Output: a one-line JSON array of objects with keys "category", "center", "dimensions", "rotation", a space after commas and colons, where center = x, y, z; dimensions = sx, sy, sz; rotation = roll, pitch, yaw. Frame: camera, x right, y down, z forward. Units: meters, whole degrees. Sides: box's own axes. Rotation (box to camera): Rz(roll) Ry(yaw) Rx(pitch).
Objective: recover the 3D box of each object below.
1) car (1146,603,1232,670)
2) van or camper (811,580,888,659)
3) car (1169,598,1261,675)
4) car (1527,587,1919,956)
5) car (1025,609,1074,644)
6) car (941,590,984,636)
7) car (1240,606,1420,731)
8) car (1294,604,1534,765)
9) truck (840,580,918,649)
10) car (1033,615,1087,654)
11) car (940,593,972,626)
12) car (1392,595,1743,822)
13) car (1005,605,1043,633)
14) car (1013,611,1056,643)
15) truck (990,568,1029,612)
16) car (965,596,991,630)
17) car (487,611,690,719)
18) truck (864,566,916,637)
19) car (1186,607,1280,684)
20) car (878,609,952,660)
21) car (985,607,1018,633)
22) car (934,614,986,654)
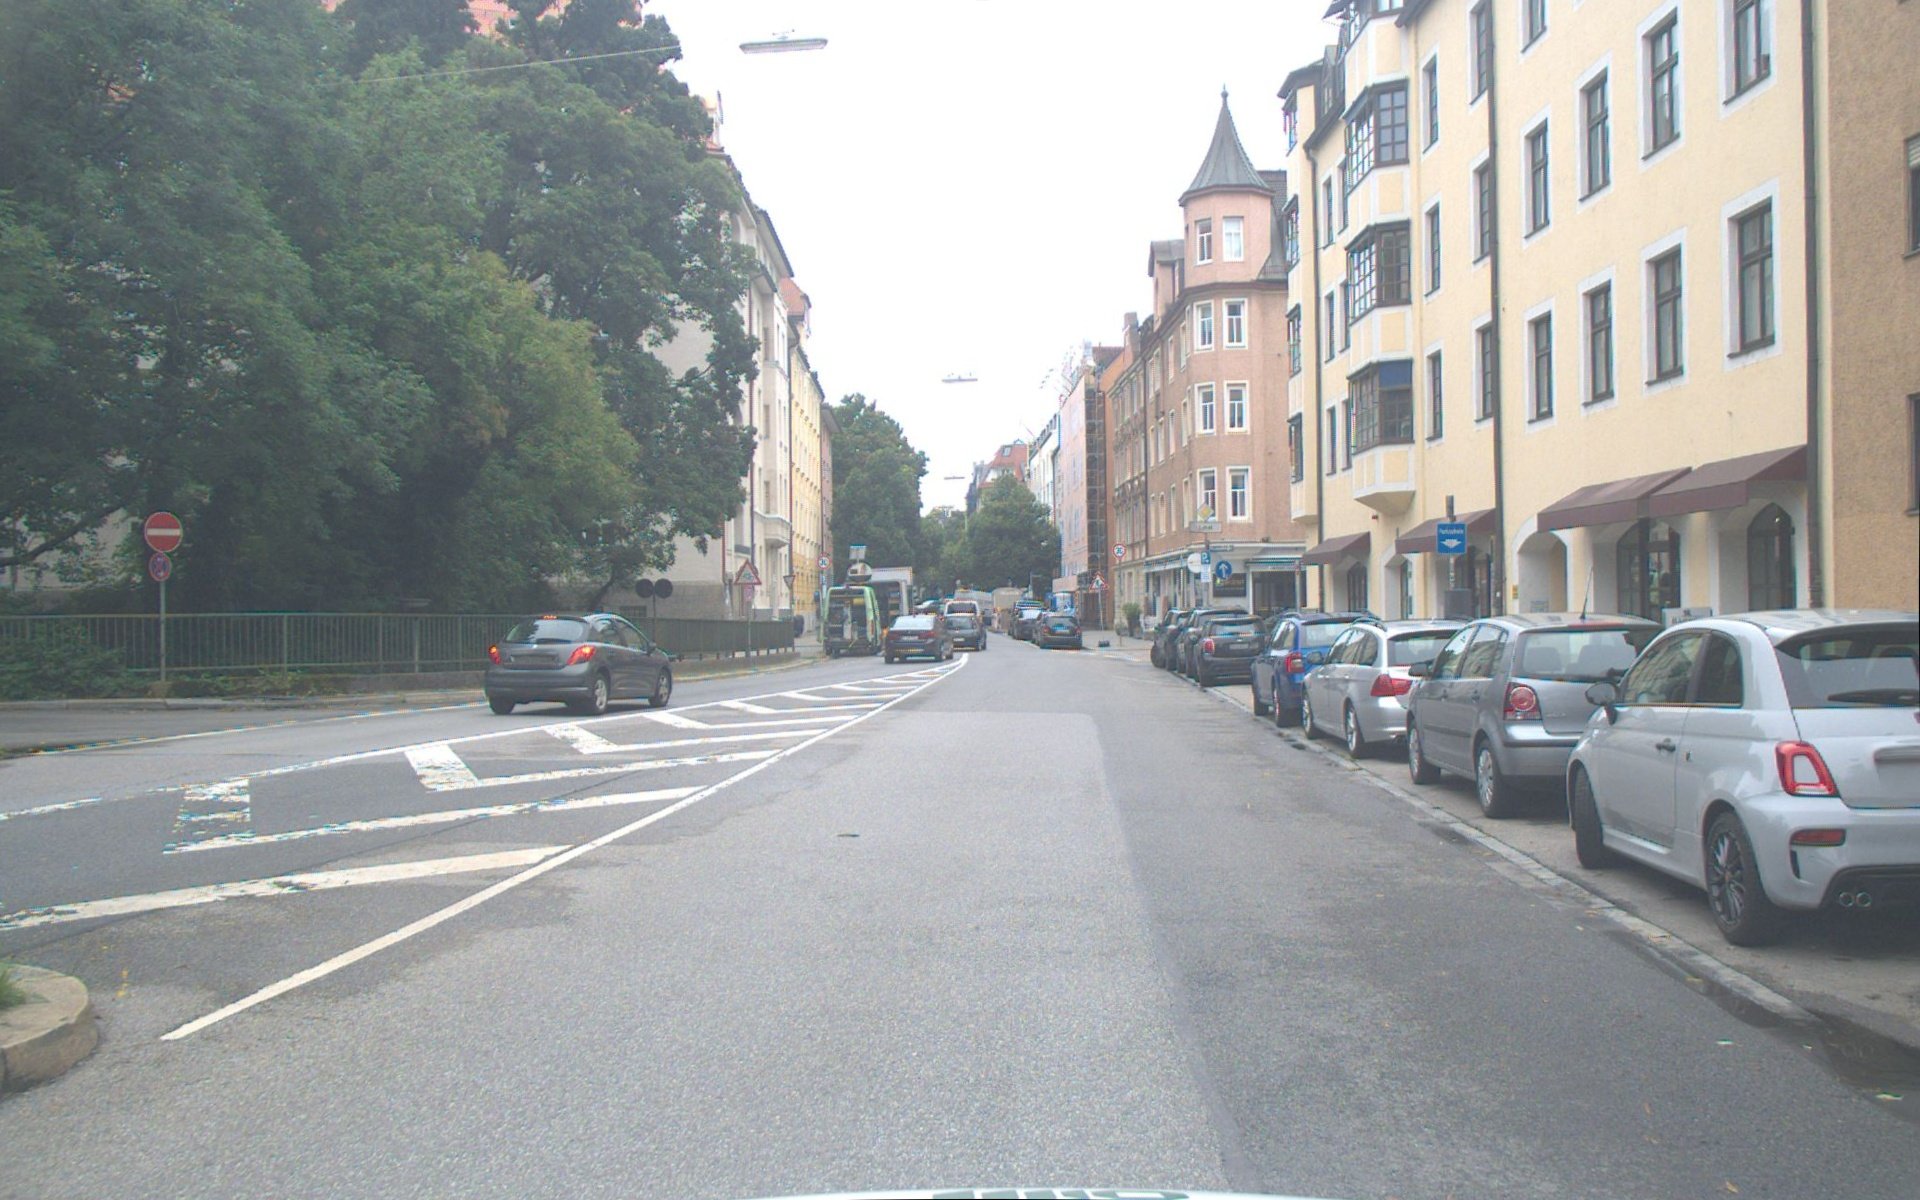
[{"category": "car", "center": [6.348, 0.987, 46.197], "dimensions": [1.781, 1.709, 4.510], "rotation": [-2, -1, 1]}, {"category": "van or camper", "center": [-4.239, 0.688, 64.400], "dimensions": [2.547, 2.890, 6.185], "rotation": [-1, 0, 0]}, {"category": "car", "center": [6.223, 0.871, 40.797], "dimensions": [1.720, 1.709, 4.708], "rotation": [-2, -1, 3]}, {"category": "car", "center": [4.416, 0.723, 8.856], "dimensions": [1.594, 1.522, 3.822], "rotation": [-2, -1, 3]}, {"category": "car", "center": [4.044, 1.186, 75.223], "dimensions": [1.807, 1.454, 4.139], "rotation": [2, 0, -2]}, {"category": "car", "center": [0.117, 0.583, 78.330], "dimensions": [1.949, 2.111, 4.140], "rotation": [-1, 0, 0]}, {"category": "car", "center": [5.071, 0.886, 23.245], "dimensions": [1.720, 1.522, 4.489], "rotation": [-2, -1, 3]}, {"category": "car", "center": [4.915, 0.853, 18.503], "dimensions": [1.655, 1.522, 4.436], "rotation": [-2, -1, 3]}, {"category": "truck", "center": [-3.595, 0.588, 74.915], "dimensions": [2.715, 2.923, 7.205], "rotation": [-1, 0, 3]}, {"category": "car", "center": [4.149, 1.431, 69.194], "dimensions": [1.807, 1.454, 4.182], "rotation": [2, 0, -2]}, {"category": "car", "center": [-0.256, 0.629, 107.572], "dimensions": [1.953, 2.049, 3.999], "rotation": [-1, 0, -1]}, {"category": "car", "center": [4.726, 0.772, 13.434], "dimensions": [1.594, 1.522, 3.788], "rotation": [-2, -1, 3]}, {"category": "car", "center": [3.517, 1.015, 91.618], "dimensions": [1.949, 1.454, 4.140], "rotation": [-1, 0, 0]}, {"category": "car", "center": [3.745, 1.353, 83.846], "dimensions": [1.807, 1.454, 4.305], "rotation": [2, 0, -2]}, {"category": "truck", "center": [3.488, -0.684, 117.650], "dimensions": [2.441, 3.025, 5.326], "rotation": [0, -1, -1]}, {"category": "car", "center": [1.339, 0.971, 123.356], "dimensions": [1.899, 2.524, 4.783], "rotation": [0, -1, 1]}, {"category": "car", "center": [-5.564, 0.936, 25.321], "dimensions": [1.721, 1.486, 4.077], "rotation": [-1, -1, 7]}, {"category": "truck", "center": [-4.097, 0.118, 97.924], "dimensions": [2.952, 4.021, 6.992], "rotation": [0, -1, -2]}, {"category": "car", "center": [5.835, 0.942, 35.715], "dimensions": [1.719, 1.522, 3.825], "rotation": [-2, -1, 6]}, {"category": "car", "center": [-1.392, 1.078, 53.054], "dimensions": [1.948, 1.454, 4.908], "rotation": [-1, 0, 3]}, {"category": "car", "center": [2.519, 1.192, 101.349], "dimensions": [1.949, 1.454, 4.140], "rotation": [-1, 0, 0]}, {"category": "car", "center": [0.008, 1.313, 65.257], "dimensions": [1.949, 1.454, 4.140], "rotation": [-1, 0, 0]}]
